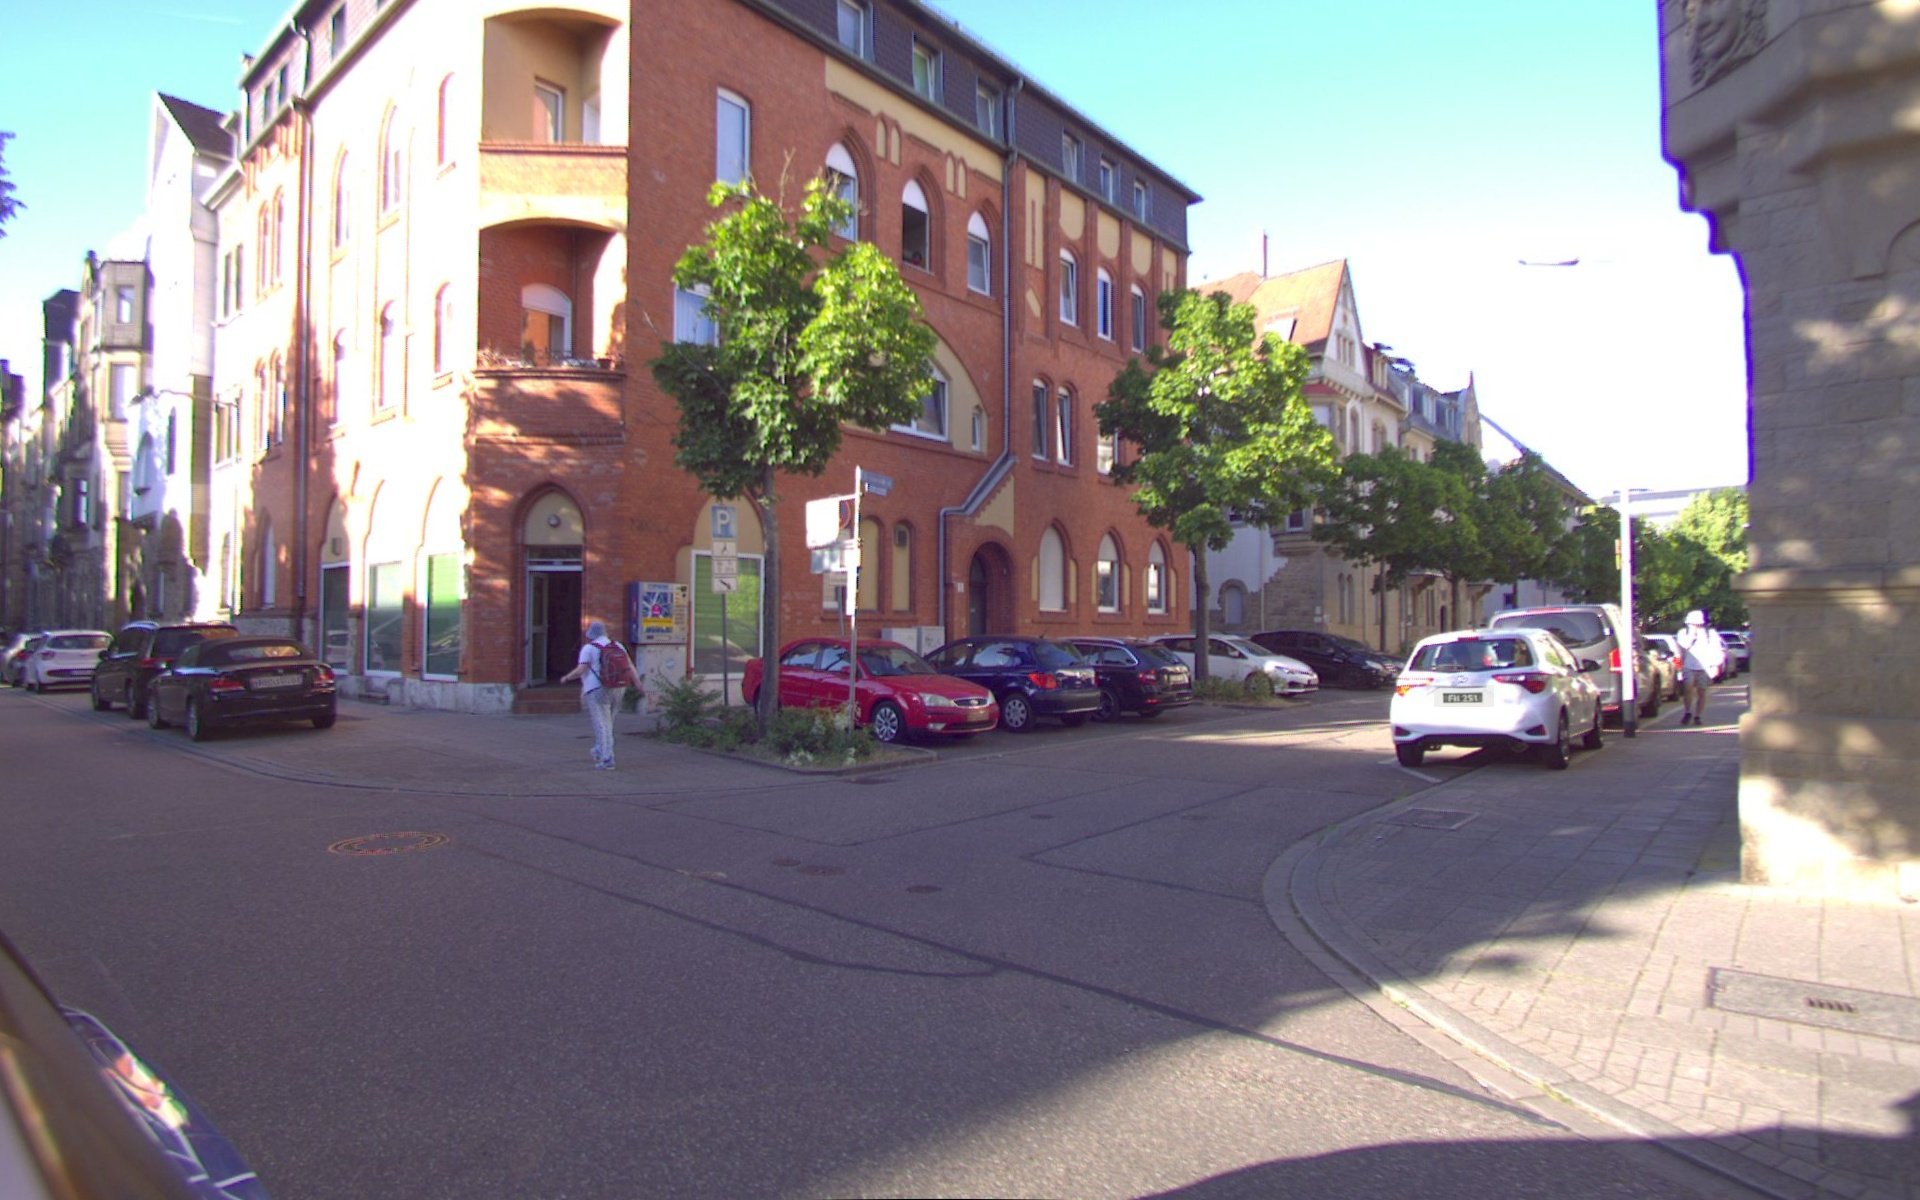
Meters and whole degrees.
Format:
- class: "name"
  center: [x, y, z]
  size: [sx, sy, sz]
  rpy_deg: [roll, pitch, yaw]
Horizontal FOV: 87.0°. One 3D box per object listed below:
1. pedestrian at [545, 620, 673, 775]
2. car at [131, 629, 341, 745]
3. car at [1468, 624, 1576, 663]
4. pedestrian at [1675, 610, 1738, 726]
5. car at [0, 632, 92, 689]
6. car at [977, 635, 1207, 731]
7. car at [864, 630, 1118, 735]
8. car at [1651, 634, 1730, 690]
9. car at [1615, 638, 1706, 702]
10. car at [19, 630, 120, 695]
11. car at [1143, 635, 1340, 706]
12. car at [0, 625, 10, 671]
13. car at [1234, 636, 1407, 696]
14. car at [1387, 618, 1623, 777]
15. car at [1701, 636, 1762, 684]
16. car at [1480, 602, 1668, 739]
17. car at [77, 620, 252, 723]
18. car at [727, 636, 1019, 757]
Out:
- class: "pedestrian"
  center: [-3.929, 1.056, 11.334]
  size: [1.053, 1.589, 0.878]
  rpy_deg: [2, -1, 41]
- class: "car"
  center: [-10.933, 1.189, 15.166]
  size: [4.331, 1.421, 1.618]
  rpy_deg: [-1, 0, 41]
- class: "car"
  center: [26.260, 2.018, 47.362]
  size: [4.209, 1.713, 1.695]
  rpy_deg: [-2, -3, 40]
- class: "pedestrian"
  center: [11.341, 1.037, 15.379]
  size: [0.699, 1.700, 0.755]
  rpy_deg: [-1, -6, 43]
- class: "car"
  center: [-26.007, 1.663, 28.573]
  size: [4.108, 1.454, 1.660]
  rpy_deg: [-2, -1, 40]
- class: "car"
  center: [2.349, 1.430, 18.569]
  size: [3.913, 1.523, 1.695]
  rpy_deg: [-1, -2, 41]
- class: "car"
  center: [0.439, 1.309, 17.166]
  size: [4.210, 1.562, 1.695]
  rpy_deg: [-2, -3, 41]
- class: "car"
  center: [20.112, 1.681, 27.819]
  size: [1.486, 1.416, 3.370]
  rpy_deg: [-5, -5, 39]
- class: "car"
  center: [16.942, 1.657, 24.415]
  size: [1.486, 1.416, 3.370]
  rpy_deg: [-5, -5, 39]
- class: "car"
  center: [-22.233, 1.508, 25.241]
  size: [3.591, 1.481, 1.549]
  rpy_deg: [-2, -2, 43]
- class: "car"
  center: [6.638, 1.615, 24.130]
  size: [4.210, 1.562, 1.695]
  rpy_deg: [-2, -3, 41]
- class: "car"
  center: [-38.267, 1.867, 39.113]
  size: [4.337, 1.730, 1.856]
  rpy_deg: [-2, -2, 41]
- class: "car"
  center: [9.972, 1.779, 28.155]
  size: [4.211, 1.562, 1.695]
  rpy_deg: [-2, -3, 42]
- class: "car"
  center: [6.536, 1.068, 11.952]
  size: [1.716, 1.562, 3.758]
  rpy_deg: [-5, -5, 39]
- class: "car"
  center: [29.775, 2.302, 39.049]
  size: [1.651, 1.744, 3.370]
  rpy_deg: [-5, -5, 39]
- class: "car"
  center: [9.966, 1.092, 16.244]
  size: [1.865, 1.881, 4.666]
  rpy_deg: [-5, -5, 39]
- class: "car"
  center: [-14.750, 1.221, 18.684]
  size: [4.346, 1.693, 1.653]
  rpy_deg: [-1, -1, 39]
- class: "car"
  center: [-1.440, 1.322, 15.188]
  size: [4.656, 1.480, 1.618]
  rpy_deg: [-1, -1, 41]
